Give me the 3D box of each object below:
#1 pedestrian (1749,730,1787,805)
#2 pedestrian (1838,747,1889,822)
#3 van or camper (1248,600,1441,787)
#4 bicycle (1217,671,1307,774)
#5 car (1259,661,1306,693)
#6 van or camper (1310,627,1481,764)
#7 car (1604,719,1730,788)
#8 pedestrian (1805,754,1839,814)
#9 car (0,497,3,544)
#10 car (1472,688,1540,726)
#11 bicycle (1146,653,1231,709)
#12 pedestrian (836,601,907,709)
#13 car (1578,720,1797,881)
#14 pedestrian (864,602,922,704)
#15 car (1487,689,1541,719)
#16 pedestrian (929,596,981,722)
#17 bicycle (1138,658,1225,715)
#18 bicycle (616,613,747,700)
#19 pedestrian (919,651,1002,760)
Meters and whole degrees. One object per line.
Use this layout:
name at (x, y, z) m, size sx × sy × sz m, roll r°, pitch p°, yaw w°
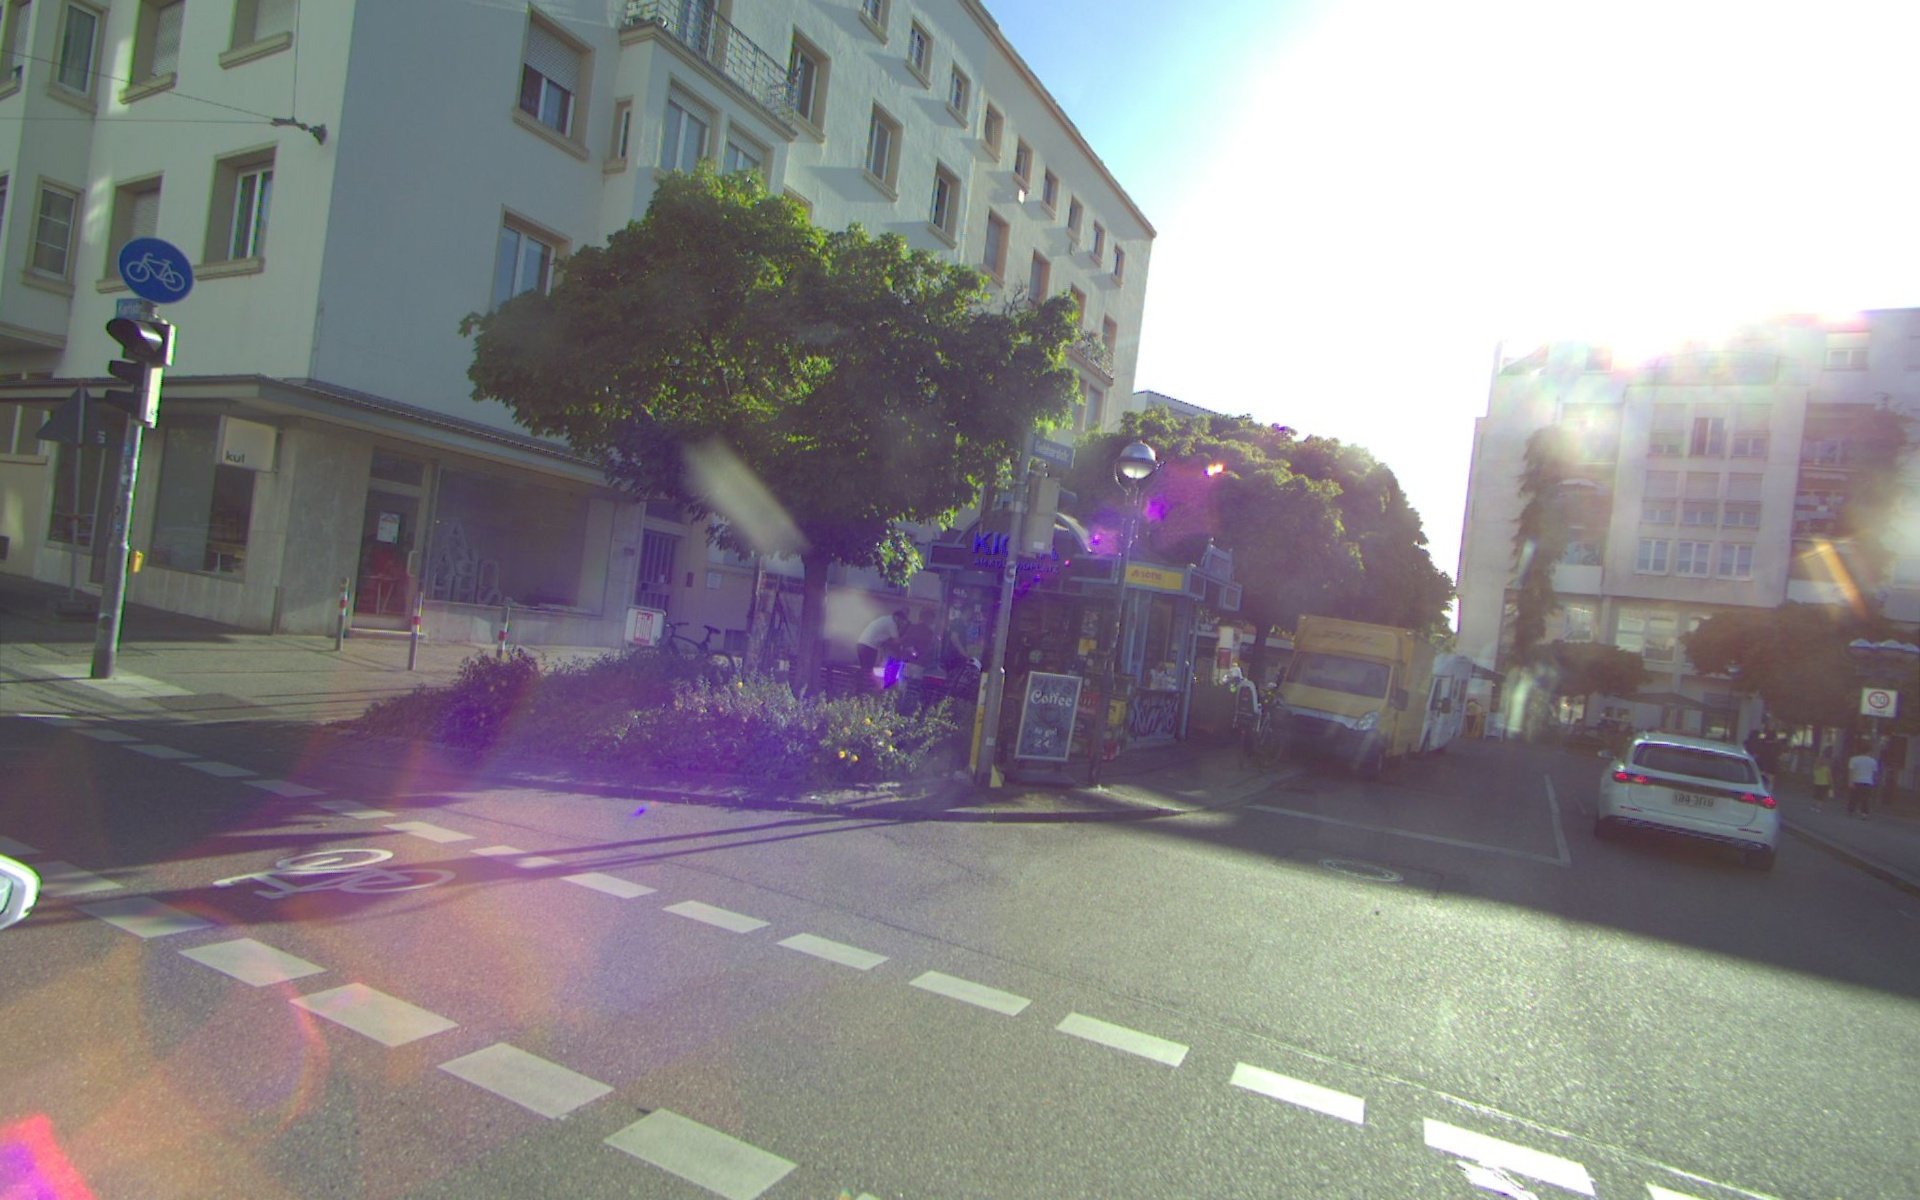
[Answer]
pedestrian at (18.368, 3.789, 22.870) m, size 0.476 × 1.601 × 0.408 m, roll 7°, pitch 0°, yaw 31°
pedestrian at (19.441, 3.949, 21.655) m, size 0.579 × 1.469 × 0.604 m, roll 7°, pitch 0°, yaw 30°
van or camper at (7.836, 1.832, 19.916) m, size 2.182 × 2.847 × 6.925 m, roll 7°, pitch -2°, yaw 31°
bicycle at (4.719, 1.896, 15.634) m, size 0.546 × 1.440 × 2.069 m, roll 7°, pitch -1°, yaw 36°
car at (18.920, 4.526, 58.940) m, size 1.783 × 1.570 × 3.996 m, roll 7°, pitch -1°, yaw 28°
van or camper at (11.757, 2.524, 26.756) m, size 2.875 × 2.847 × 6.922 m, roll 7°, pitch -2°, yaw 33°
car at (21.262, 4.561, 30.455) m, size 1.774 × 1.480 × 3.996 m, roll 7°, pitch -1°, yaw 17°
pedestrian at (18.975, 4.043, 22.151) m, size 0.414 × 1.215 × 0.309 m, roll 7°, pitch 0°, yaw 30°
car at (-14.776, -0.820, 13.389) m, size 4.837 × 1.527 × 1.749 m, roll 6°, pitch 1°, yaw 32°
car at (38.419, 7.504, 70.807) m, size 3.933 × 2.037 × 1.997 m, roll 7°, pitch -1°, yaw 31°
bicycle at (6.198, 2.198, 27.332) m, size 1.999 × 1.165 × 0.661 m, roll 9°, pitch 1°, yaw 31°
pedestrian at (-1.416, 0.879, 16.109) m, size 0.732 × 1.622 × 0.615 m, roll 7°, pitch 0°, yaw 31°
car at (9.779, 2.574, 13.881) m, size 1.778 × 1.480 × 4.548 m, roll 7°, pitch -2°, yaw 29°
pedestrian at (-1.120, 0.891, 16.830) m, size 0.582 × 1.622 × 0.552 m, roll 7°, pitch 0°, yaw 31°
car at (48.363, 9.101, 87.911) m, size 3.930 × 2.037 × 1.999 m, roll 7°, pitch -1°, yaw 28°
pedestrian at (-0.085, 0.877, 15.153) m, size 0.532 × 1.810 × 0.552 m, roll 7°, pitch 0°, yaw -4°
bicycle at (5.856, 2.277, 26.680) m, size 1.999 × 1.165 × 0.661 m, roll 9°, pitch 1°, yaw 31°
bicycle at (-3.582, 0.760, 13.078) m, size 0.354 × 0.996 × 1.663 m, roll 7°, pitch -1°, yaw 38°
pedestrian at (0.012, 1.281, 12.229) m, size 0.542 × 1.227 × 0.733 m, roll 7°, pitch -1°, yaw 37°
